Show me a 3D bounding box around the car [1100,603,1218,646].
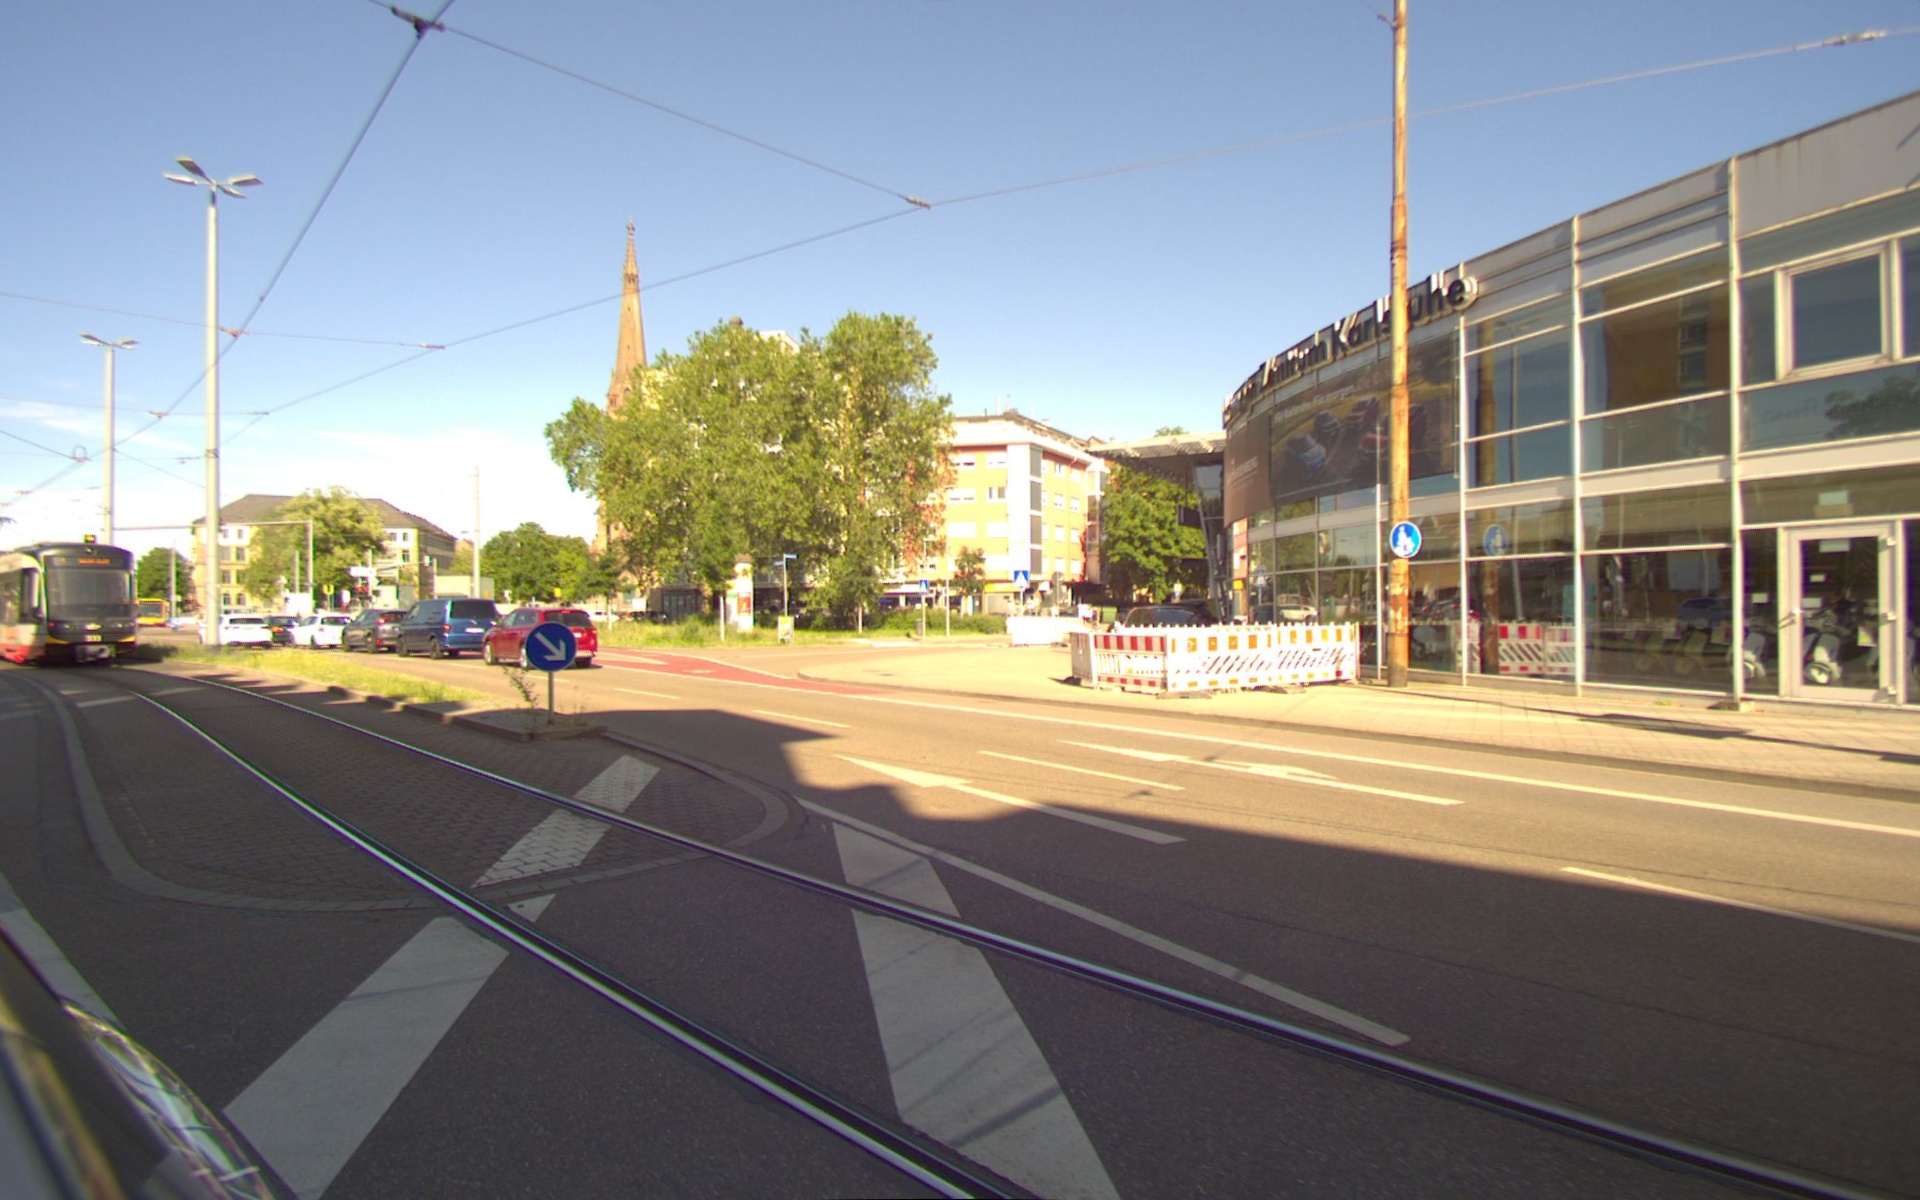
[{"bbox_3d":[7.839,0.987,39.939,4.188,1.411,1.740,-5,-3,31],"label":"car"}]

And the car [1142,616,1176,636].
[{"bbox_3d":[16.082,2.081,81.696,1.986,1.345,3.971,-1,1,22],"label":"car"}]

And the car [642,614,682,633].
[{"bbox_3d":[-25.370,1.959,86.355,1.723,1.510,3.988,-1,-1,9],"label":"car"}]

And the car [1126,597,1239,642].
[{"bbox_3d":[9.268,0.833,42.213,4.188,1.576,1.740,-5,-3,31],"label":"car"}]

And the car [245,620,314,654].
[{"bbox_3d":[-30.903,1.647,45.938,3.969,1.490,1.632,-1,-2,41],"label":"car"}]

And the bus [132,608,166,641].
[{"bbox_3d":[-91.882,2.657,114.706,2.805,3.144,11.845,-2,3,-38],"label":"bus"}]

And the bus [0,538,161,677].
[{"bbox_3d":[-27.681,0.274,31.004,11.262,3.617,2.812,-1,0,40],"label":"bus"}]

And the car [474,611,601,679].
[{"bbox_3d":[-11.816,1.190,28.160,1.778,1.732,4.420,1,-1,-44],"label":"car"}]

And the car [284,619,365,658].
[{"bbox_3d":[-26.662,1.582,42.439,3.998,1.443,1.784,0,1,41],"label":"car"}]

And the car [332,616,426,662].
[{"bbox_3d":[-21.729,1.410,37.789,4.163,1.590,1.784,0,-1,41],"label":"car"}]

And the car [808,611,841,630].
[{"bbox_3d":[-11.104,1.680,83.131,1.973,1.510,3.997,-1,-1,2],"label":"car"}]

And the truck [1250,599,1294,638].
[{"bbox_3d":[19.646,1.144,63.568,1.990,2.237,4.179,-1,1,26],"label":"truck"}]

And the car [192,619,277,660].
[{"bbox_3d":[-29.292,1.549,40.805,4.539,1.443,1.784,0,1,41],"label":"car"}]

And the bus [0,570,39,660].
[{"bbox_3d":[-43.994,0.704,44.921,13.484,3.617,2.812,-1,0,40],"label":"bus"}]

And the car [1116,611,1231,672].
[{"bbox_3d":[5.876,1.127,28.348,1.730,1.548,4.008,-1,-1,-10],"label":"car"}]

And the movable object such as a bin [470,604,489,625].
[{"bbox_3d":[-38.040,1.142,80.172,0.926,1.646,0.989,-1,1,7],"label":"movable object such as a bin"}]

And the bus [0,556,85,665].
[{"bbox_3d":[-35.348,0.413,37.627,10.721,3.617,2.811,-1,0,41],"label":"bus"}]

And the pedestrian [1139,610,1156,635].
[{"bbox_3d":[15.627,1.875,84.348,1.161,2.029,1.109,-1,1,-1],"label":"pedestrian"}]

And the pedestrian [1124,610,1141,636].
[{"bbox_3d":[14.324,1.907,84.266,1.161,2.029,1.109,-1,1,-1],"label":"pedestrian"}]

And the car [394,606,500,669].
[{"bbox_3d":[-16.882,1.182,33.228,4.165,1.948,1.783,0,-1,43],"label":"car"}]
